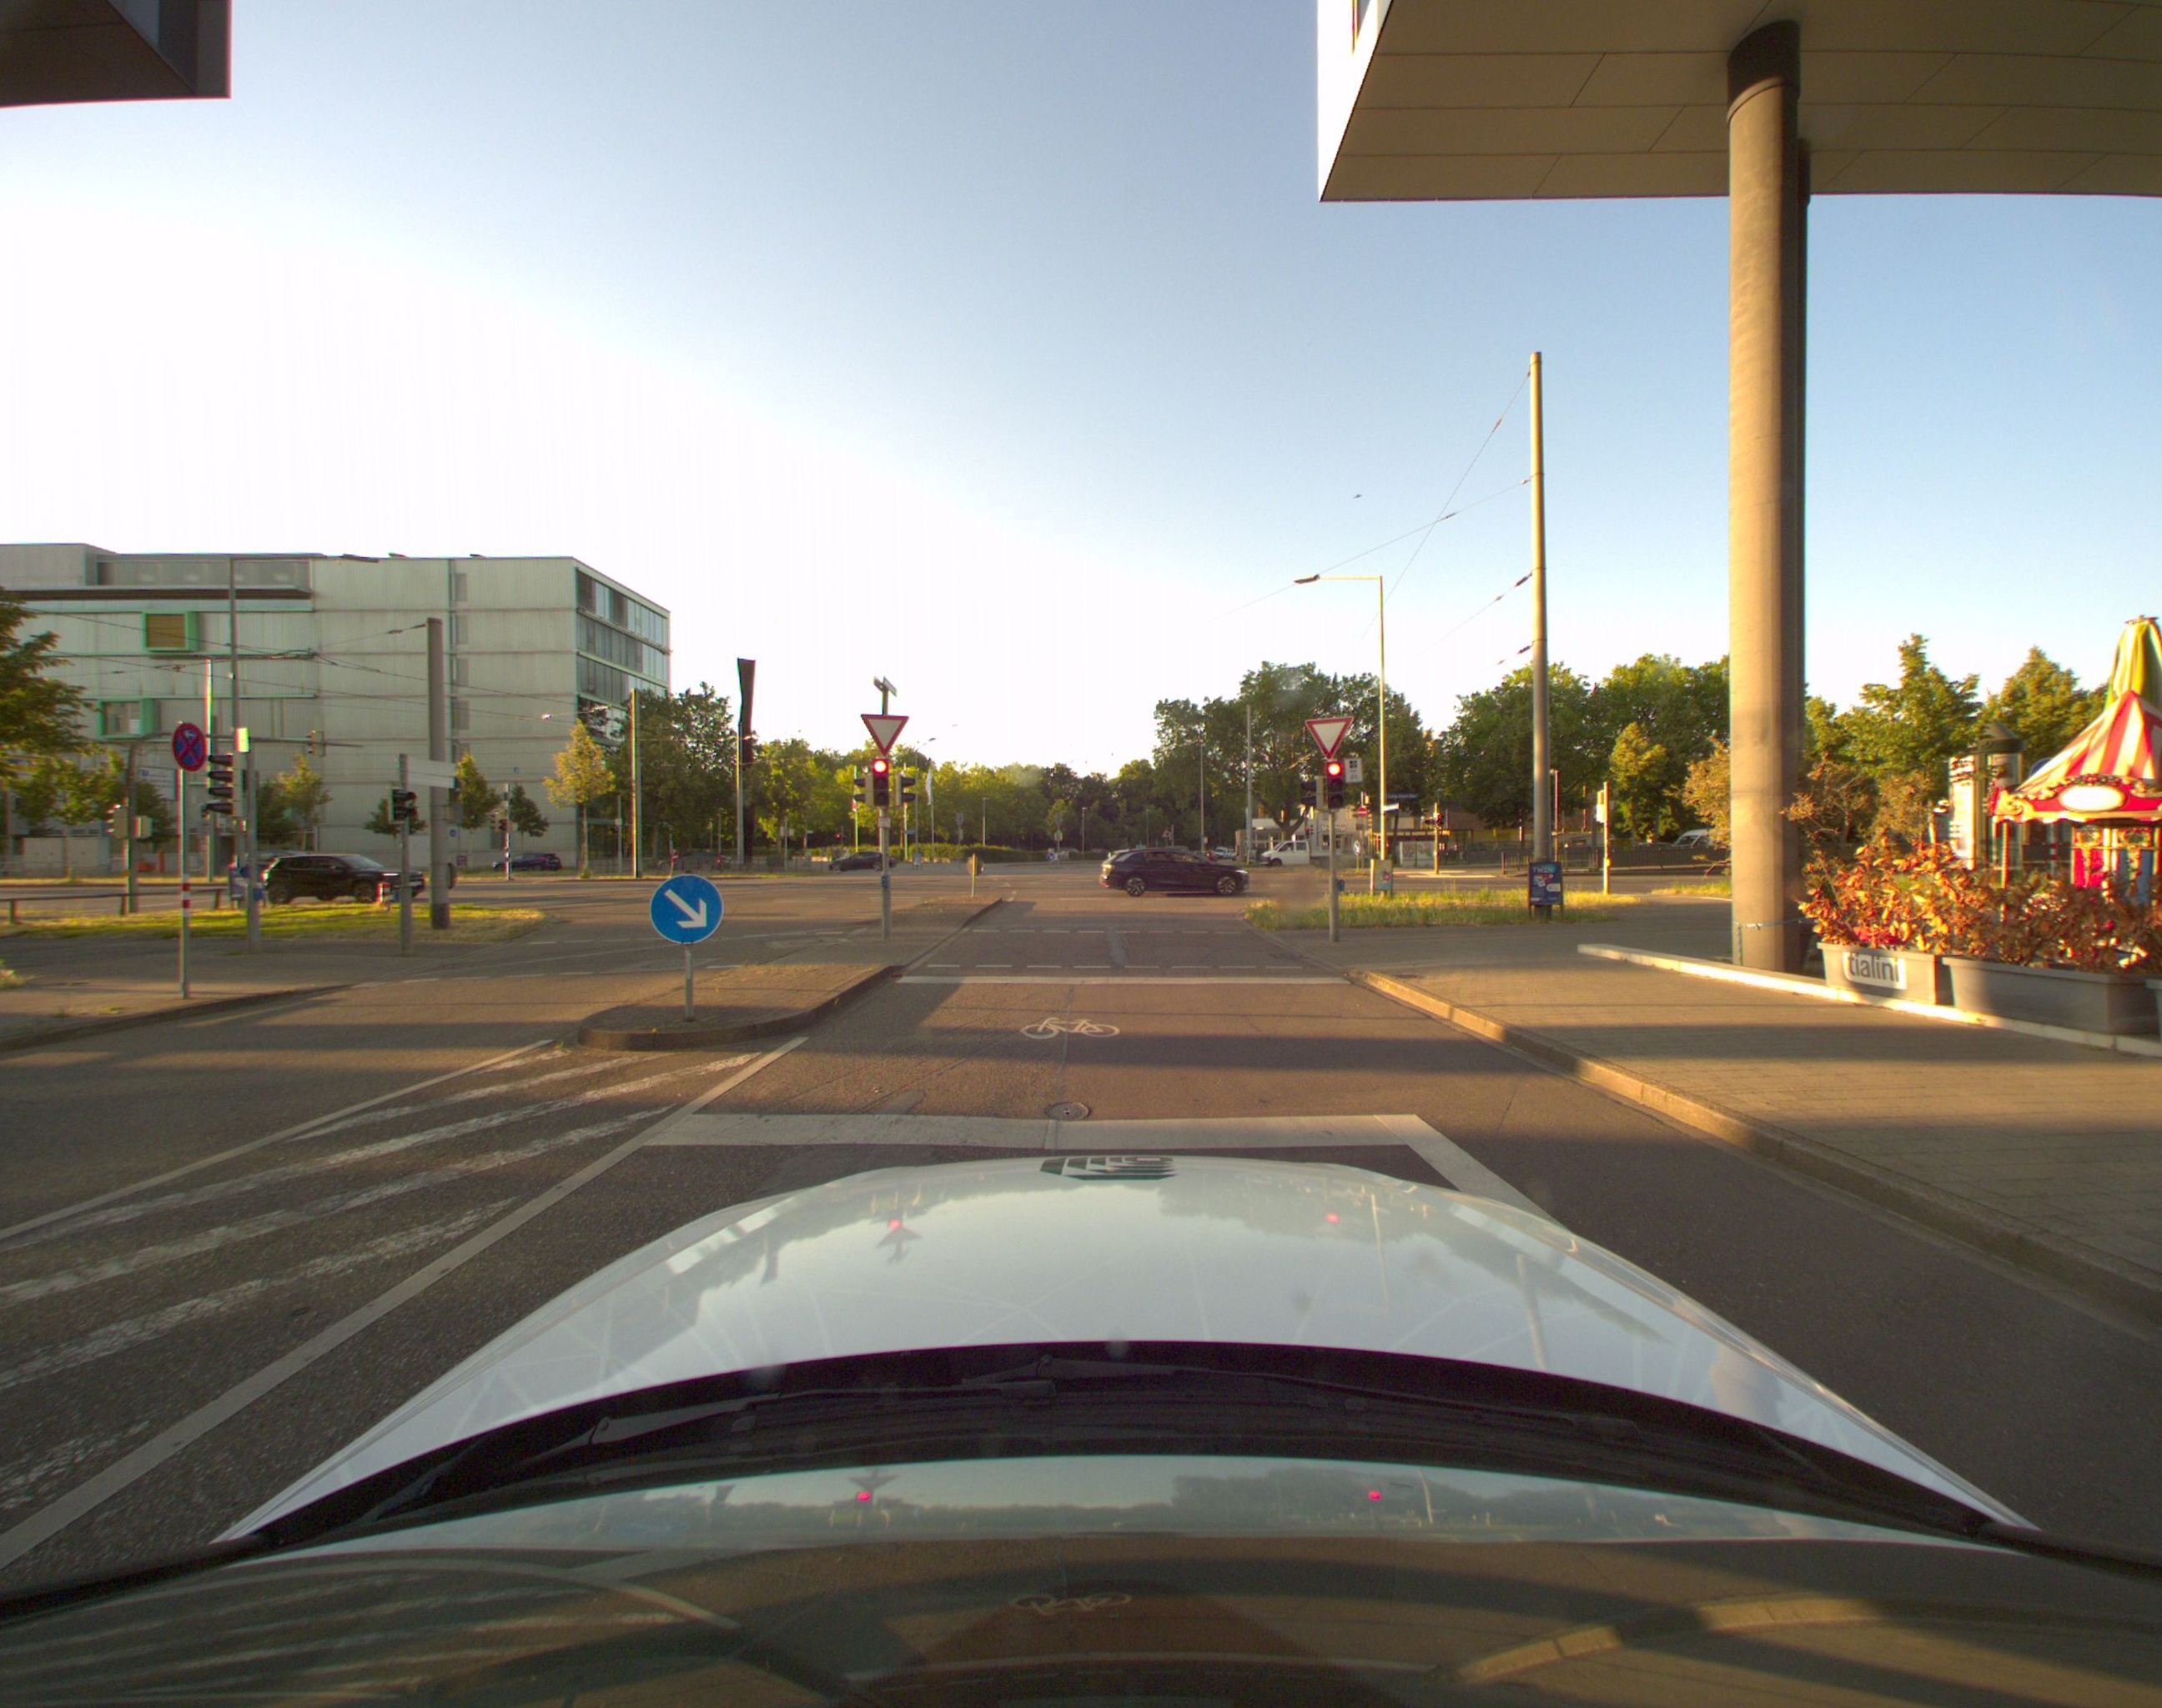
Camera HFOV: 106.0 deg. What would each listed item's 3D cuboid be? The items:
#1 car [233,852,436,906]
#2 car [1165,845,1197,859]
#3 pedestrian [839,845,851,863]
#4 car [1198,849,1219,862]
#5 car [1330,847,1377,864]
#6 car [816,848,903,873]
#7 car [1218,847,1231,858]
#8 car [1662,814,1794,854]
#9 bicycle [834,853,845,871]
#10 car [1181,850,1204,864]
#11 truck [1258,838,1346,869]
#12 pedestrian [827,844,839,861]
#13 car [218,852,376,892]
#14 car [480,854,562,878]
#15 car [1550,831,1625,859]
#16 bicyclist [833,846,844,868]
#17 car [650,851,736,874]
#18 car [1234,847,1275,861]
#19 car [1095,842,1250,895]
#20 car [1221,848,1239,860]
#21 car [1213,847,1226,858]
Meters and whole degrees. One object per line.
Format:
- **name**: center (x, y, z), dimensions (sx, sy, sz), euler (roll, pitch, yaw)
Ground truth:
- **car**: center (-23.506, 0.744, 25.791), dimensions (4.424, 1.574, 1.998), euler (-1, 0, -3)
- **car**: center (15.408, -0.336, 125.726), dimensions (4.753, 2.006, 2.002), euler (-1, -1, 3)
- **pedestrian**: center (-23.883, 0.010, 82.387), dimensions (0.852, 1.744, 0.835), euler (-1, 0, 35)
- **car**: center (16.201, 0.211, 103.176), dimensions (1.978, 1.662, 4.018), euler (-1, -1, 17)
- **car**: center (23.982, 0.163, 71.830), dimensions (3.715, 1.440, 1.669), euler (-1, -1, 11)
- **car**: center (-14.685, 0.421, 54.184), dimensions (5.206, 1.552, 2.000), euler (-1, -1, 1)
- **car**: center (23.925, -0.262, 135.735), dimensions (1.849, 1.794, 4.015), euler (-1, -1, 14)
- **car**: center (45.089, -1.352, 56.900), dimensions (6.892, 2.636, 2.812), euler (-1, -1, 1)
- **bicycle**: center (-18.885, 0.587, 63.645), dimensions (0.732, 1.341, 2.673), euler (-1, 0, -19)
- **car**: center (13.099, 0.374, 95.556), dimensions (1.978, 1.662, 4.018), euler (-1, -1, 17)
- **truck**: center (15.270, -0.065, 56.478), dimensions (5.535, 2.054, 2.069), euler (-1, 0, 2)
- **pedestrian**: center (-24.722, -0.156, 81.228), dimensions (0.852, 1.744, 0.835), euler (-1, 0, 28)
- **car**: center (-32.509, 0.737, 33.889), dimensions (4.467, 1.557, 1.986), euler (-1, 0, -4)
- **car**: center (-39.396, 0.844, 57.372), dimensions (4.454, 1.552, 2.001), euler (-1, -1, 3)
- **car**: center (47.860, -0.841, 77.071), dimensions (5.561, 2.551, 2.235), euler (-1, 0, 9)
- **bicyclist**: center (-18.964, 0.207, 63.773), dimensions (0.753, 1.709, 0.914), euler (-1, 0, -20)
- **car**: center (-27.438, 0.629, 57.720), dimensions (5.082, 1.552, 2.000), euler (-1, -1, 1)
- **car**: center (18.918, 0.010, 88.897), dimensions (4.194, 1.552, 2.005), euler (-1, -1, 9)
- **car**: center (2.974, 0.461, 27.138), dimensions (4.896, 1.614, 1.998), euler (-1, 0, -3)
- **car**: center (21.080, -0.005, 115.297), dimensions (1.978, 1.662, 4.018), euler (-1, -1, 17)
- **car**: center (22.261, -0.255, 130.877), dimensions (1.850, 1.794, 4.013), euler (-1, -1, 12)
